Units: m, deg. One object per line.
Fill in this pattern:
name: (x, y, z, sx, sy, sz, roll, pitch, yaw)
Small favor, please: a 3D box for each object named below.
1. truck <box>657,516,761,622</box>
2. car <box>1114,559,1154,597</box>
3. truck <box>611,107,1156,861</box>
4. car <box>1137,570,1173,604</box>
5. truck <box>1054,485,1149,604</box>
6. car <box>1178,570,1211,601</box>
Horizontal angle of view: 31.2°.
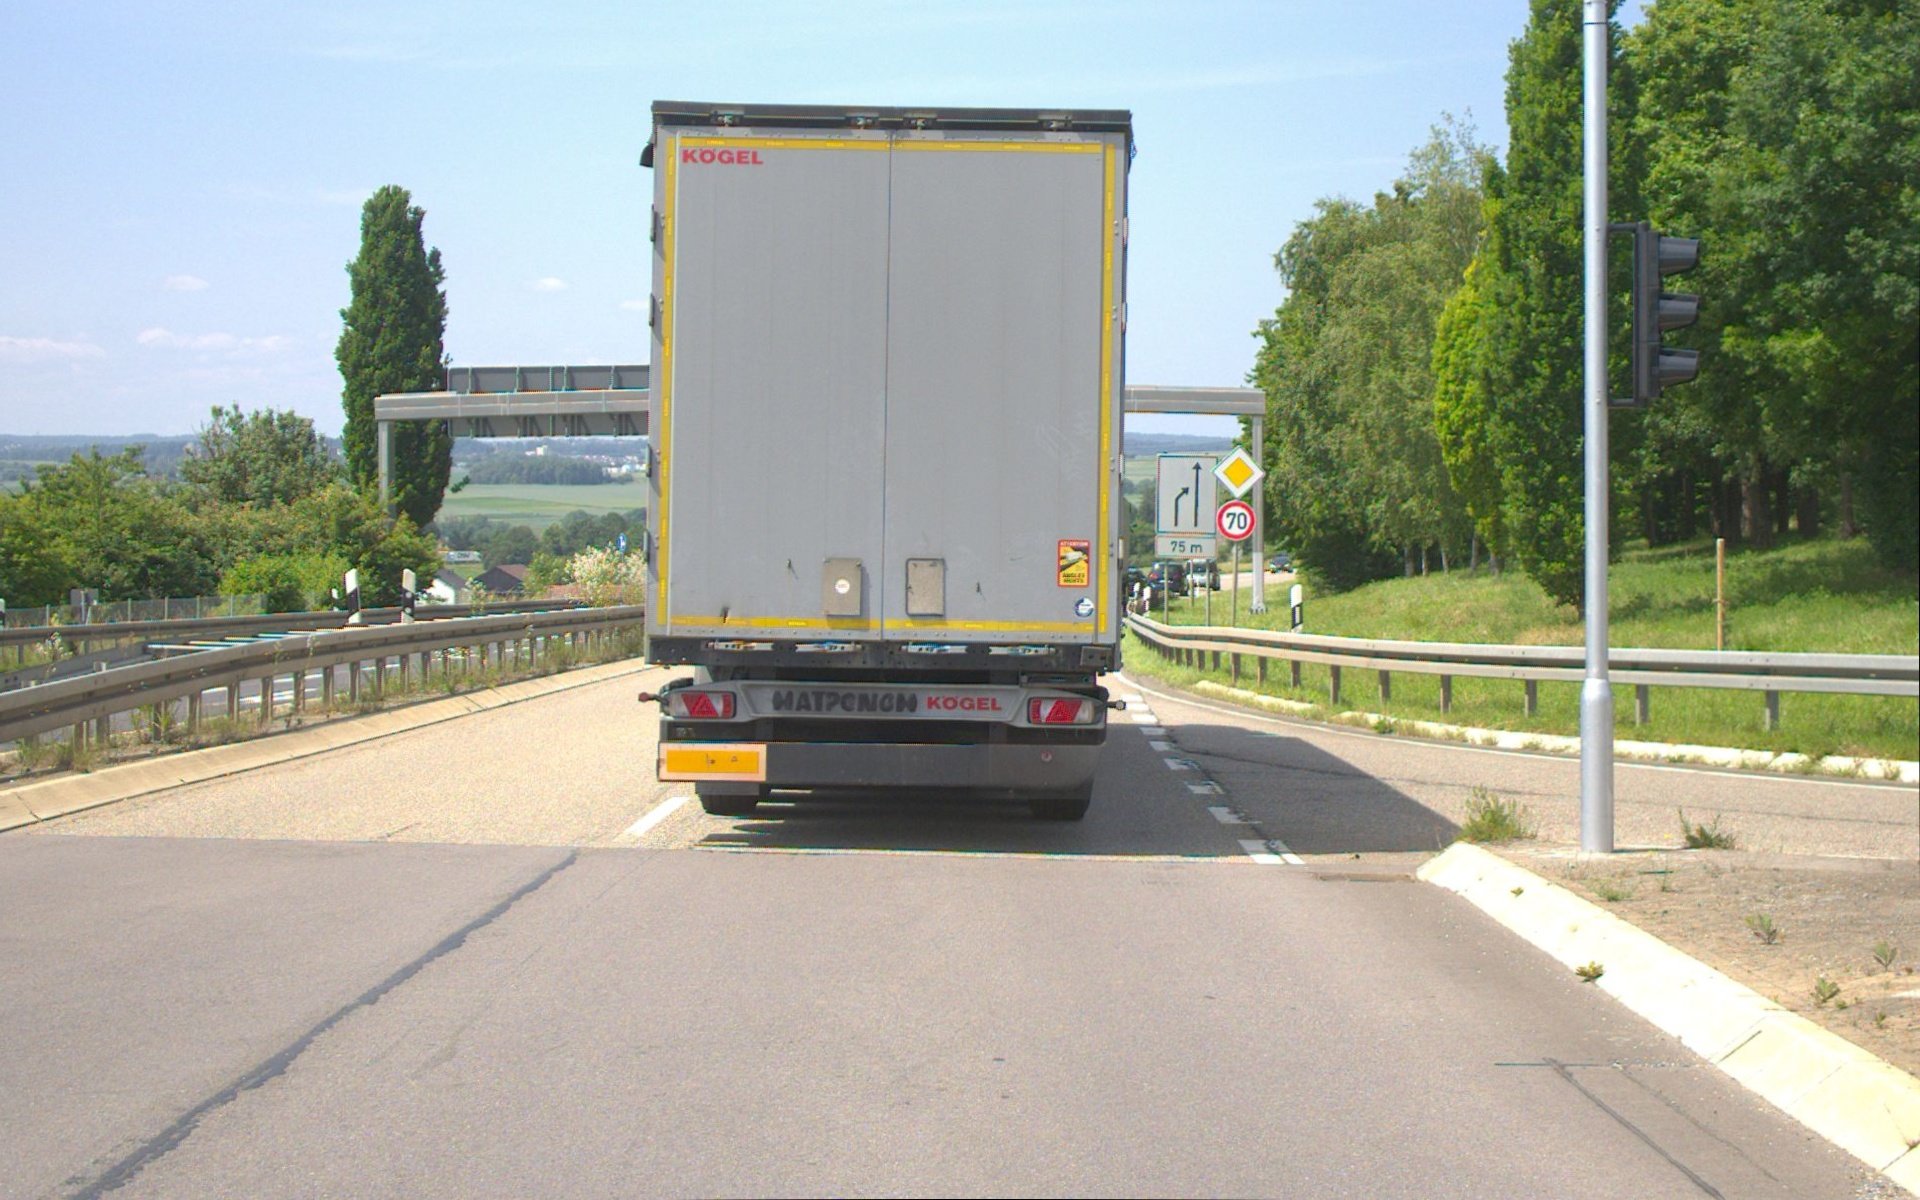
truck: (-6.488, -0.815, 89.595, 2.040, 2.612, 6.020, -2, 1, 1)
car: (8.049, -1.024, 159.557, 1.786, 1.682, 4.000, 1, 0, 3)
truck: (-0.581, -0.679, 23.757, 2.799, 3.916, 11.342, 1, 1, -2)
car: (9.985, -0.640, 176.195, 1.786, 1.682, 4.000, 1, 0, 3)
truck: (4.883, -1.798, 116.834, 2.656, 3.752, 10.159, 1, 0, 5)
car: (13.293, -0.811, 195.048, 1.786, 1.682, 4.000, 1, 0, 3)
